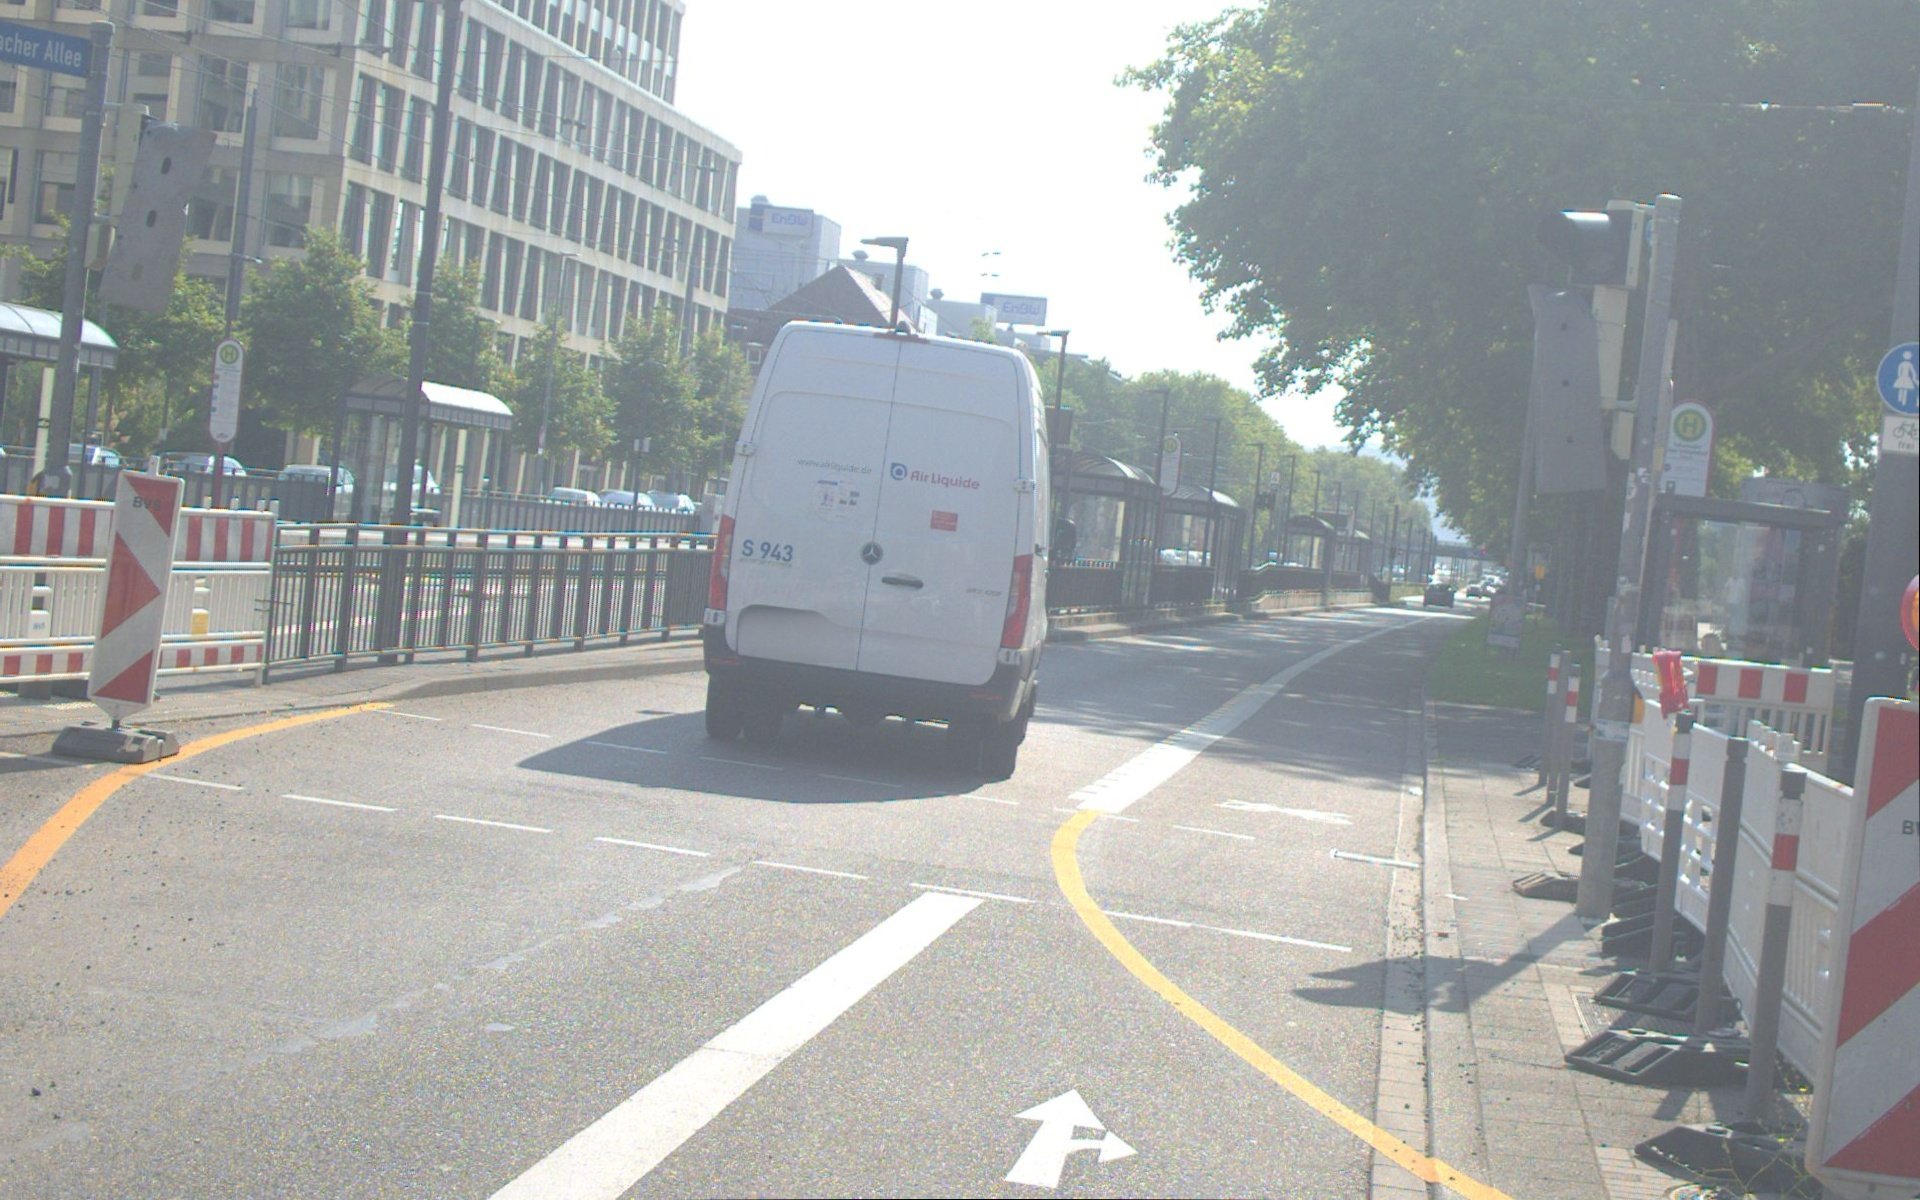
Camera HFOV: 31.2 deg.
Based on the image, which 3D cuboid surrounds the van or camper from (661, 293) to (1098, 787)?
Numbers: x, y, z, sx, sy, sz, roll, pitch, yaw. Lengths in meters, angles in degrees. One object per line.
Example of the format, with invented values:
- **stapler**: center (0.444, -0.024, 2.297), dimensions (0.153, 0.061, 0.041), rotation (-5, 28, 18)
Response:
- **van or camper**: center (-0.377, -0.399, 22.963), dimensions (2.116, 2.672, 5.250), rotation (7, 1, 4)
